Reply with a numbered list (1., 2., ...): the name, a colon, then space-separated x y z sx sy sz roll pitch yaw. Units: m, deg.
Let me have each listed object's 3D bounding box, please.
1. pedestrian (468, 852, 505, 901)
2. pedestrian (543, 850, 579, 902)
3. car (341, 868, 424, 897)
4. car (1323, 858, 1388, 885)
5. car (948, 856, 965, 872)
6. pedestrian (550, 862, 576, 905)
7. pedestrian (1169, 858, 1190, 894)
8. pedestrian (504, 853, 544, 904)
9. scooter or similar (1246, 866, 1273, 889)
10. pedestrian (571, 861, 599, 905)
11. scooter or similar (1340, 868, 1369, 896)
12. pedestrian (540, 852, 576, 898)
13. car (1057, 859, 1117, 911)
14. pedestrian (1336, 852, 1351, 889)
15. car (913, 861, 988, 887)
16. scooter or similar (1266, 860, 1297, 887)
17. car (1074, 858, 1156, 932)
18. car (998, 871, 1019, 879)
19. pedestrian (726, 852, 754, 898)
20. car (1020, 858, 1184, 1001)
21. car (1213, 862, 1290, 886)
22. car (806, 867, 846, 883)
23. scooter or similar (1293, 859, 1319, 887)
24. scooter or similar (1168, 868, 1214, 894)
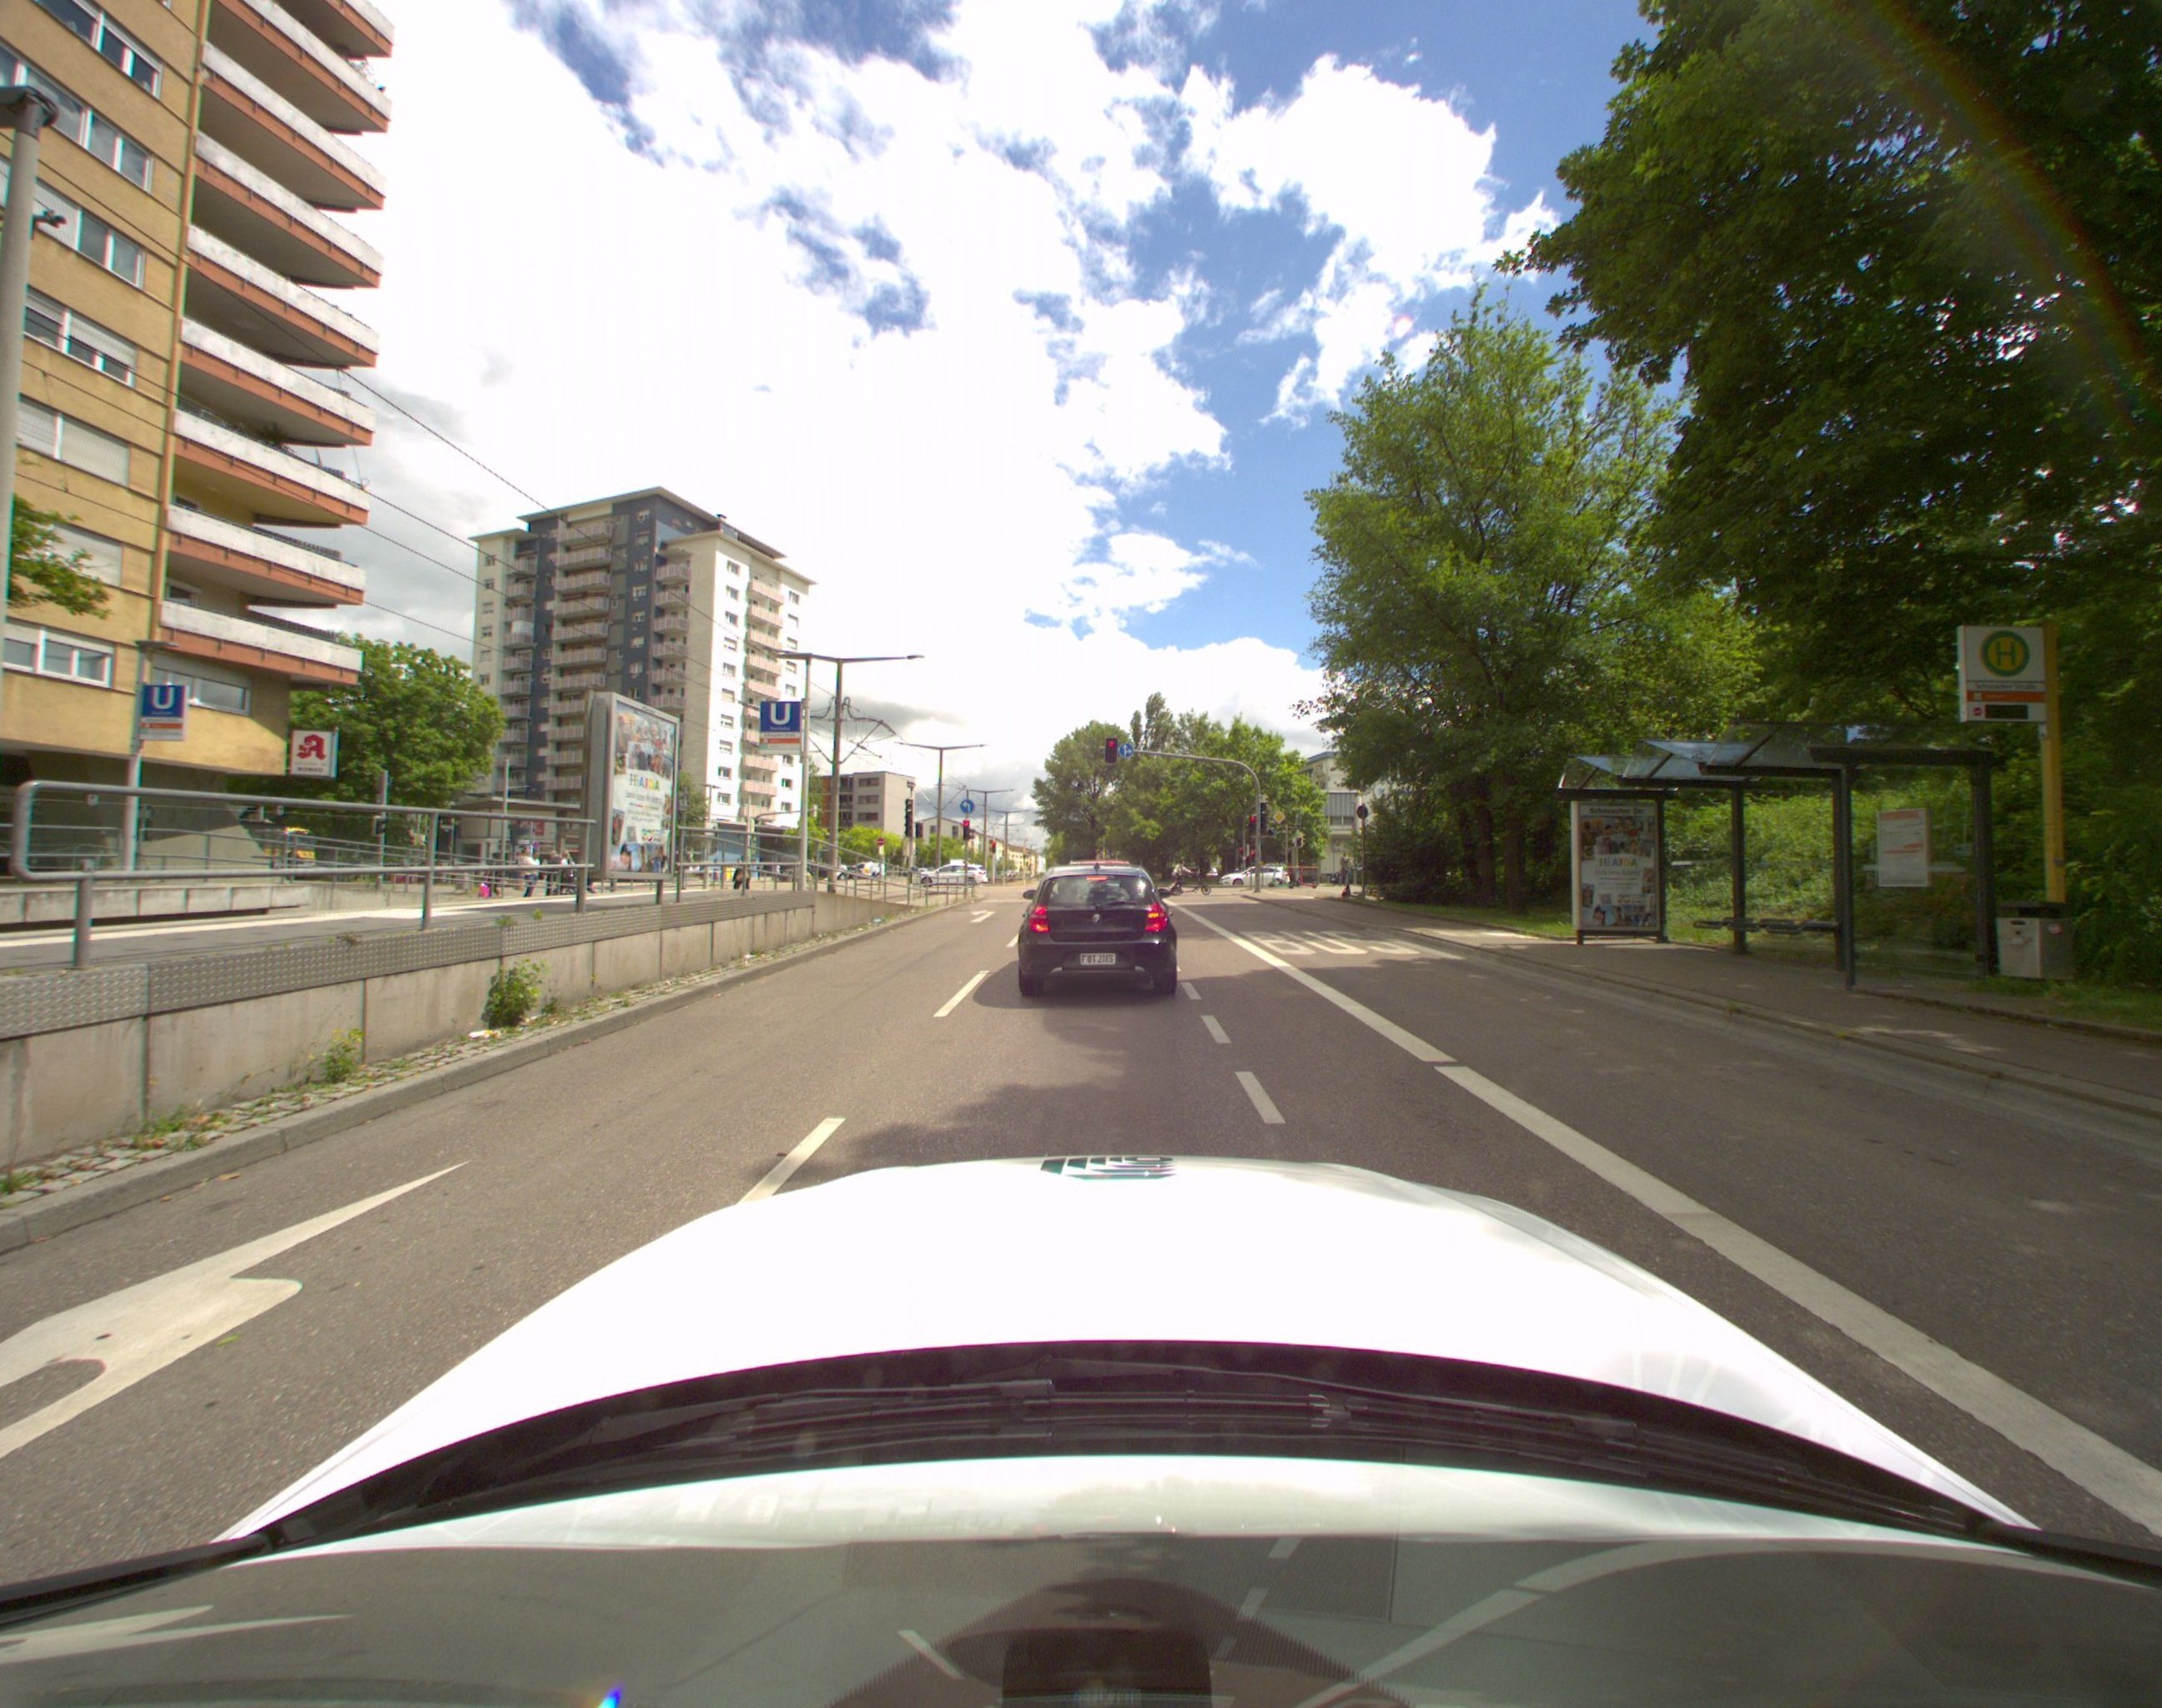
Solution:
1. pedestrian: -19.522 0.714 26.751 0.602 1.583 0.779 -1 -1 31
2. pedestrian: -17.412 0.735 27.268 0.816 1.706 0.686 -1 -1 27
3. car: -44.103 1.791 51.467 3.674 1.680 1.742 -1 0 -3
4. car: 17.390 1.092 51.635 3.578 1.601 1.705 0 -1 -11
5. car: -21.468 1.670 140.354 2.132 2.640 5.358 0 0 0
6. pedestrian: -16.552 0.920 26.001 0.660 1.343 0.558 -1 -1 44
7. pedestrian: 4.058 0.888 33.521 0.860 1.442 0.800 -1 -1 7
8. pedestrian: -19.101 0.830 27.933 0.854 1.696 0.690 0 -1 3
9. scooter or similar: 7.745 1.021 35.375 1.121 0.957 0.299 -1 -1 -14
10. pedestrian: -15.587 0.907 25.613 0.691 1.343 0.852 0 0 -29
11. scooter or similar: 10.796 1.097 32.105 1.153 1.099 0.329 0 -1 -22
12. pedestrian: -18.327 0.736 28.568 0.855 1.578 0.623 0 -1 0
13. car: 0.171 0.874 24.411 1.649 1.419 3.516 0 0 0
14. pedestrian: 13.303 0.835 41.204 0.608 1.790 0.571 3 -1 20
15. car: -8.240 1.273 51.495 4.571 1.526 1.939 -1 0 -9
16. scooter or similar: 9.020 0.876 36.608 1.290 1.189 0.383 -1 -1 -14
17. car: 0.734 0.798 17.479 1.588 1.419 3.519 0 0 2
18. car: -15.207 4.342 170.145 4.023 1.596 1.948 0 -1 -45
19. pedestrian: -12.490 0.756 29.858 0.698 1.632 0.638 -1 -1 1
20. car: 0.318 0.775 9.956 1.647 1.419 3.520 -1 0 3
21. car: 11.324 1.313 54.299 4.635 1.480 1.995 -1 0 -8
22. car: -25.754 2.123 82.288 3.600 1.462 1.612 -1 0 -7
23. scooter or similar: 10.316 0.854 37.409 1.107 1.258 0.331 -1 -1 -11
24. scooter or similar: 4.451 1.094 33.032 1.777 1.051 0.410 -1 0 -5
